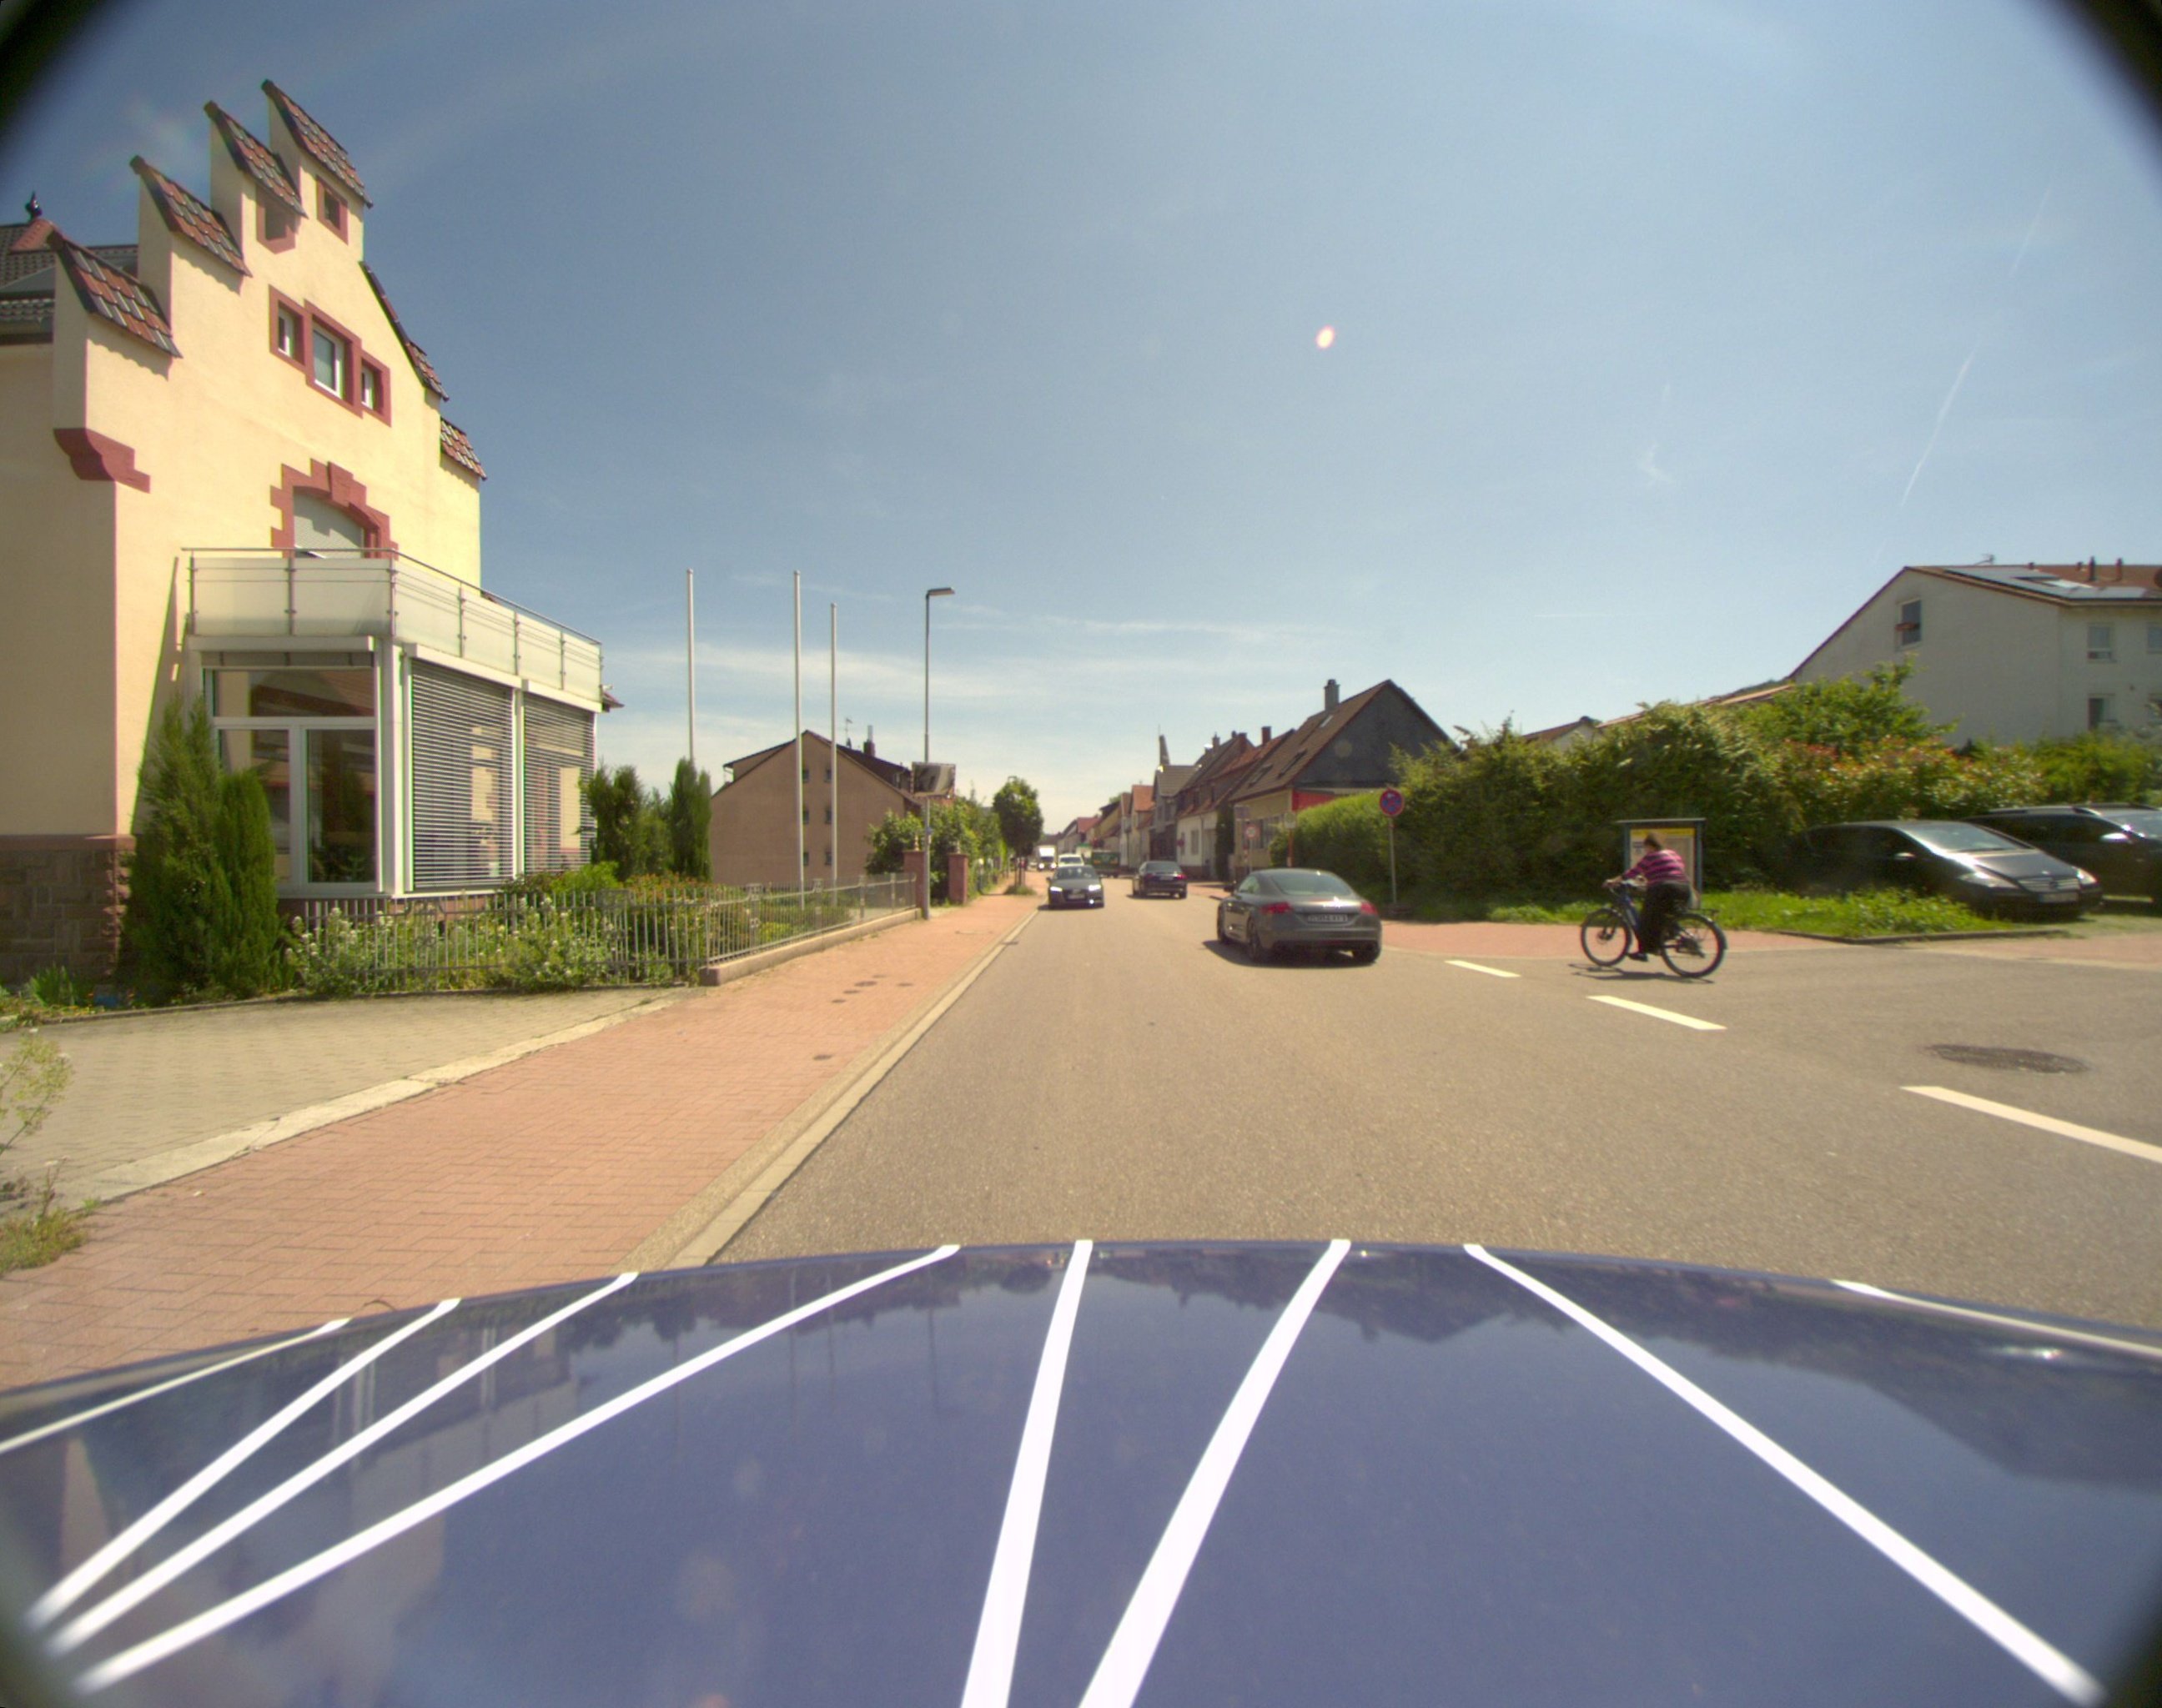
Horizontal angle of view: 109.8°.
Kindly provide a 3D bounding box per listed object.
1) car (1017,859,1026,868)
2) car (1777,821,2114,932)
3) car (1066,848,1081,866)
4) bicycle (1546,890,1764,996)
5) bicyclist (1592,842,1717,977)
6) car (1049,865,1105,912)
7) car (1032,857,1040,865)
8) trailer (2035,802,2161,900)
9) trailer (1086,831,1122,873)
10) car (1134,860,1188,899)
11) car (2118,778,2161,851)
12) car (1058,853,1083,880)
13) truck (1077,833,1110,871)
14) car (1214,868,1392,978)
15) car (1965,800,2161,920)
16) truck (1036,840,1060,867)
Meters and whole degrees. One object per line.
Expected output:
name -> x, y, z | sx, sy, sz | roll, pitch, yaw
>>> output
car -> -11.730, 1.882, 150.248 | 1.637, 1.572, 3.568 | 1, 0, -4
car -> 14.238, 0.323, 12.880 | 1.627, 1.531, 3.652 | -3, 0, 4
car -> -1.138, 0.462, 112.145 | 2.035, 2.446, 6.066 | 0, 0, -3
bicycle -> 6.784, 0.996, 9.137 | 0.673, 1.050, 2.024 | -4, 0, -18
bicyclist -> 6.790, 0.627, 9.032 | 0.661, 1.485, 0.908 | -4, 1, -18
car -> -0.203, 1.094, 25.460 | 1.705, 1.346, 3.999 | -2, 0, -2
car -> -8.962, 1.465, 151.360 | 1.508, 1.432, 3.534 | -3, 1, -5
trailer -> 19.503, -0.077, 13.553 | 1.430, 1.654, 2.691 | -5, 0, -4
trailer -> 1.989, -0.147, 68.939 | 2.537, 3.627, 8.459 | 0, 0, -3
car -> 3.192, 0.991, 31.111 | 1.734, 1.451, 4.694 | 0, 0, 0
car -> 27.222, -1.008, 17.925 | 3.639, 1.724, 1.420 | -3, 1, -2
car -> -0.780, 0.842, 53.676 | 1.637, 1.833, 3.569 | -1, 0, -2
truck -> 1.145, -0.162, 78.164 | 2.574, 3.678, 10.074 | 0, 0, -4
car -> 3.297, 0.956, 12.068 | 1.710, 1.362, 3.869 | 1, 0, 1
car -> 16.993, 0.054, 12.173 | 1.627, 1.769, 3.511 | -3, 0, 4
truck -> -4.739, -0.064, 107.137 | 2.899, 3.516, 12.948 | -1, 0, -4
